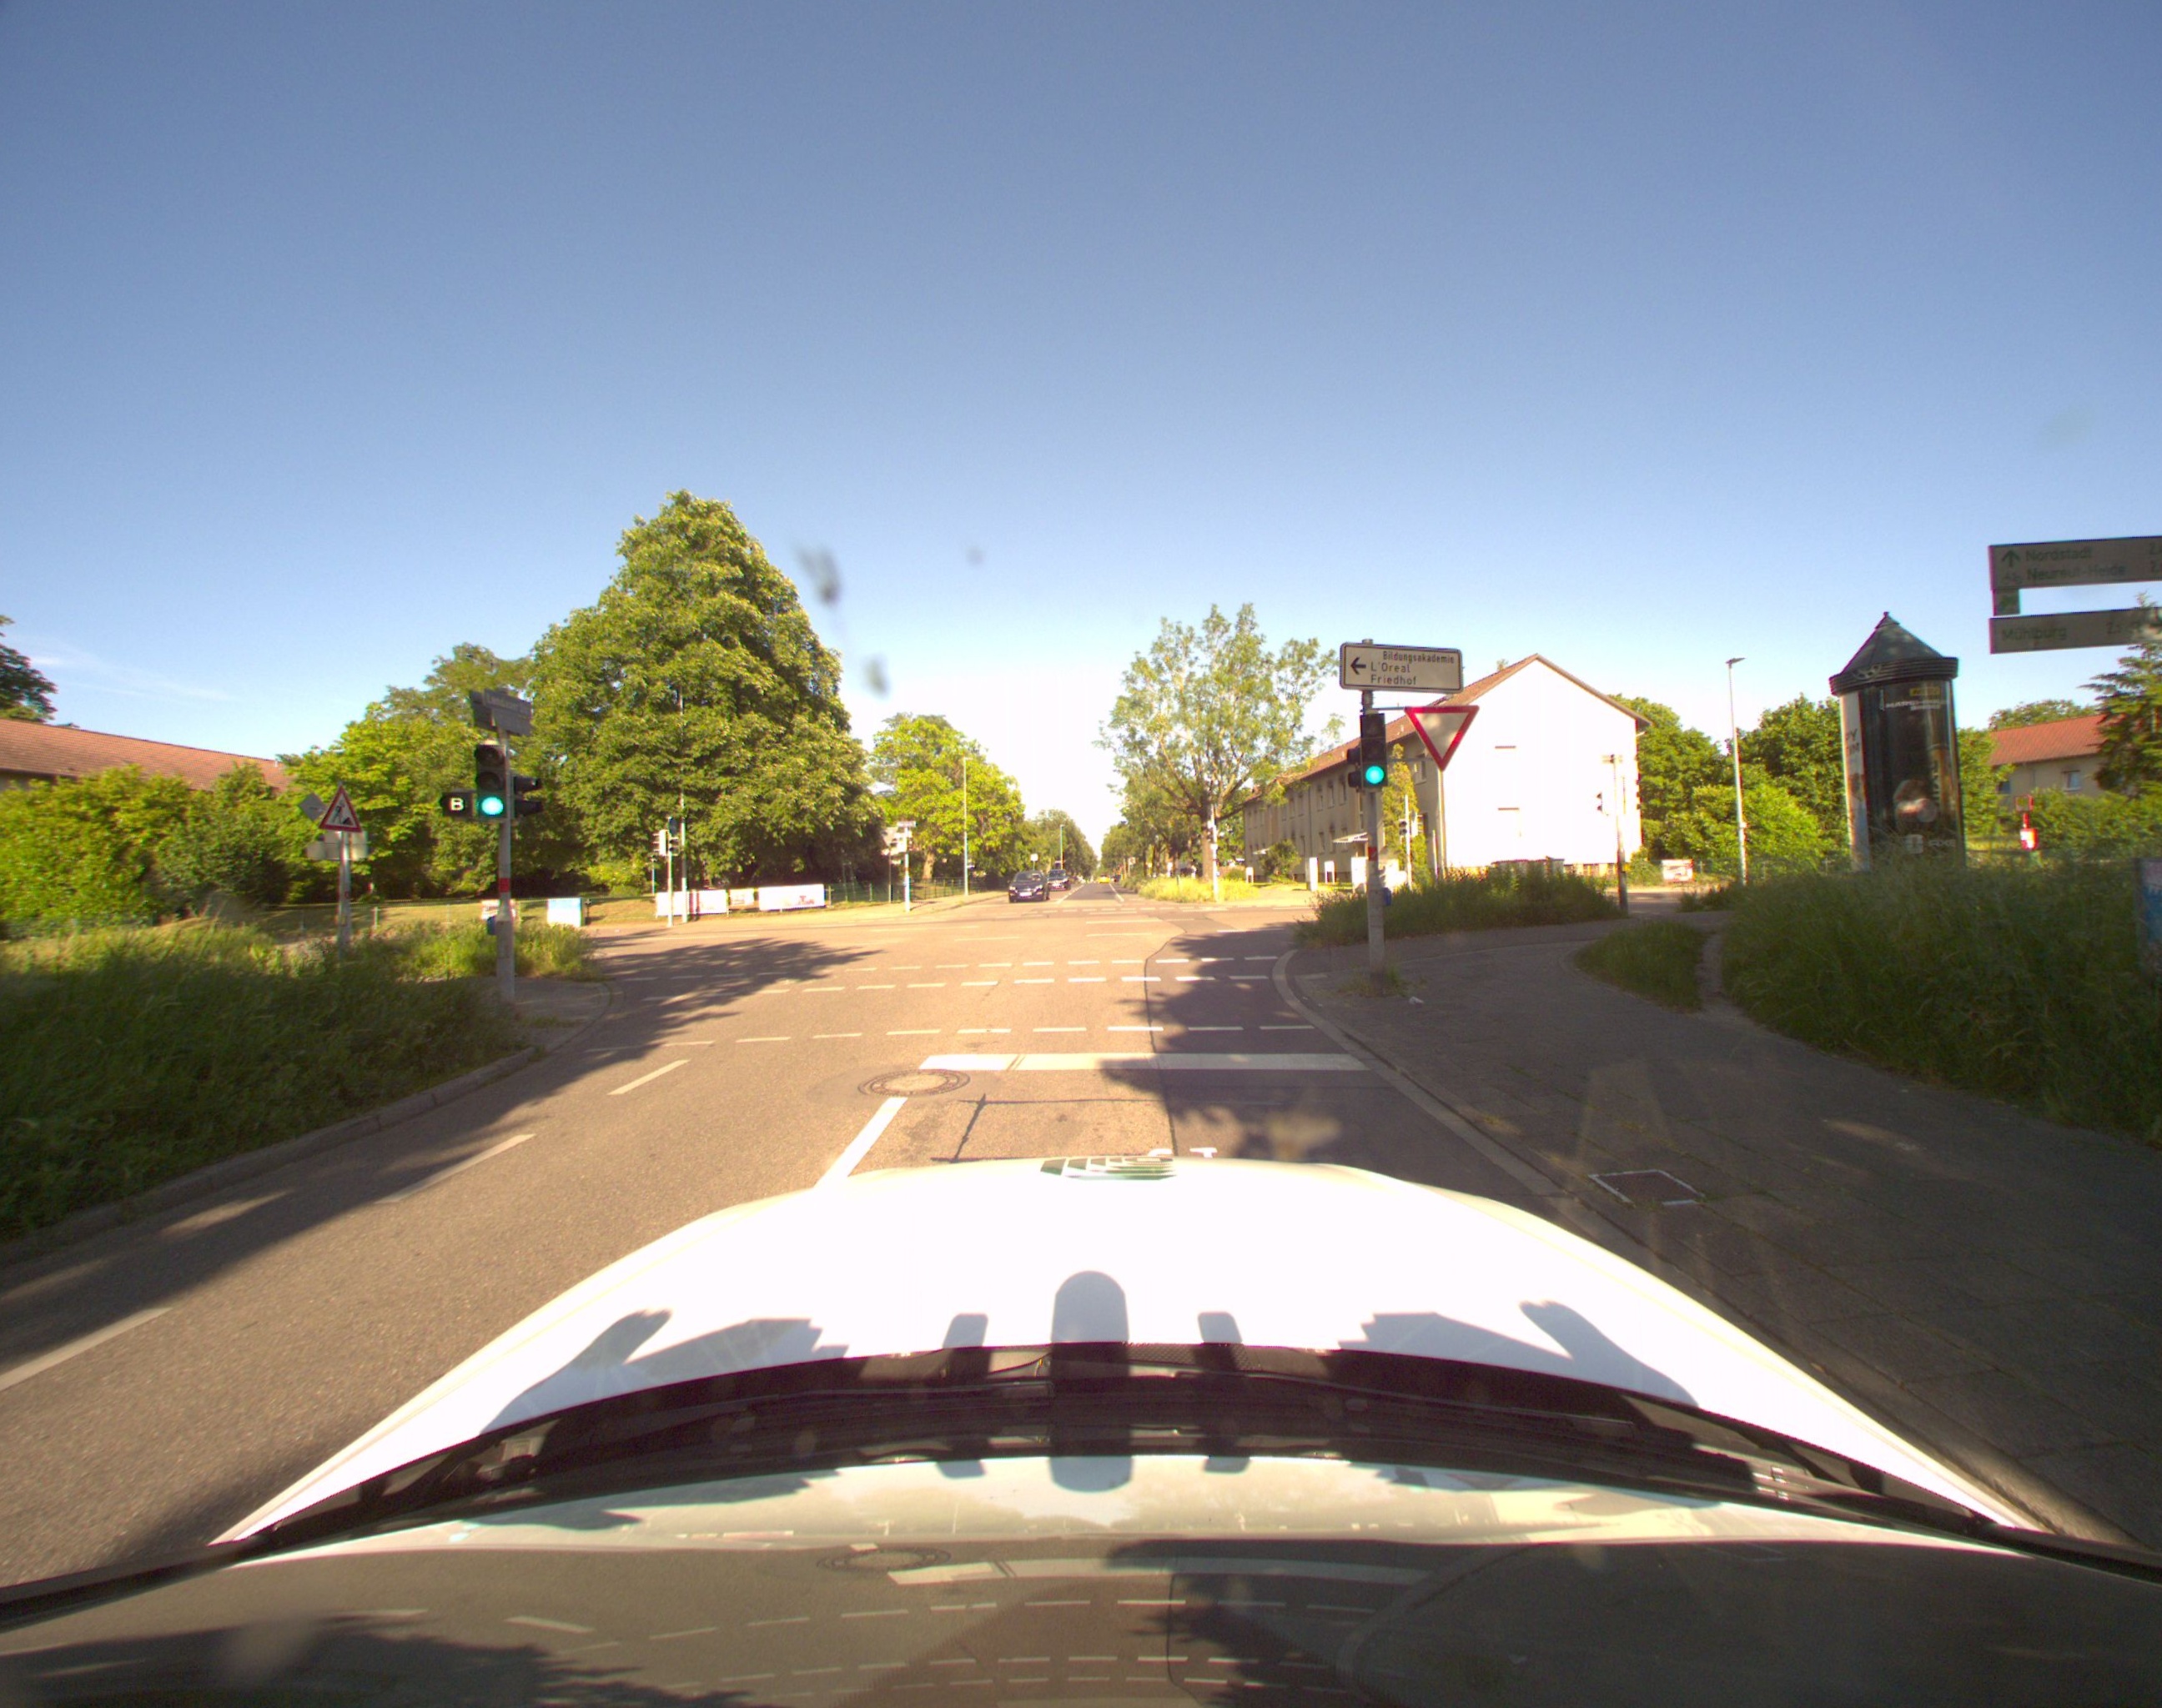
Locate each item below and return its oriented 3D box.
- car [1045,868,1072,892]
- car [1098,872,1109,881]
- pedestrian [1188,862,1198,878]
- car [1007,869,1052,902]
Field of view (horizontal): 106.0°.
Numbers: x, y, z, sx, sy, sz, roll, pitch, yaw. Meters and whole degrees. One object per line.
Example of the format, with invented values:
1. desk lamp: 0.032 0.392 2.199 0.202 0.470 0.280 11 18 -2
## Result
1. car: -1.670 1.942 61.489 1.751 1.624 3.270 -2 -1 3
2. car: 3.762 3.808 137.577 1.745 1.583 4.001 -1 -1 2
3. pedestrian: 10.709 1.532 77.946 0.838 1.493 0.924 1 -1 1
4. car: -2.377 1.452 38.179 1.704 1.385 3.473 -2 -1 3
